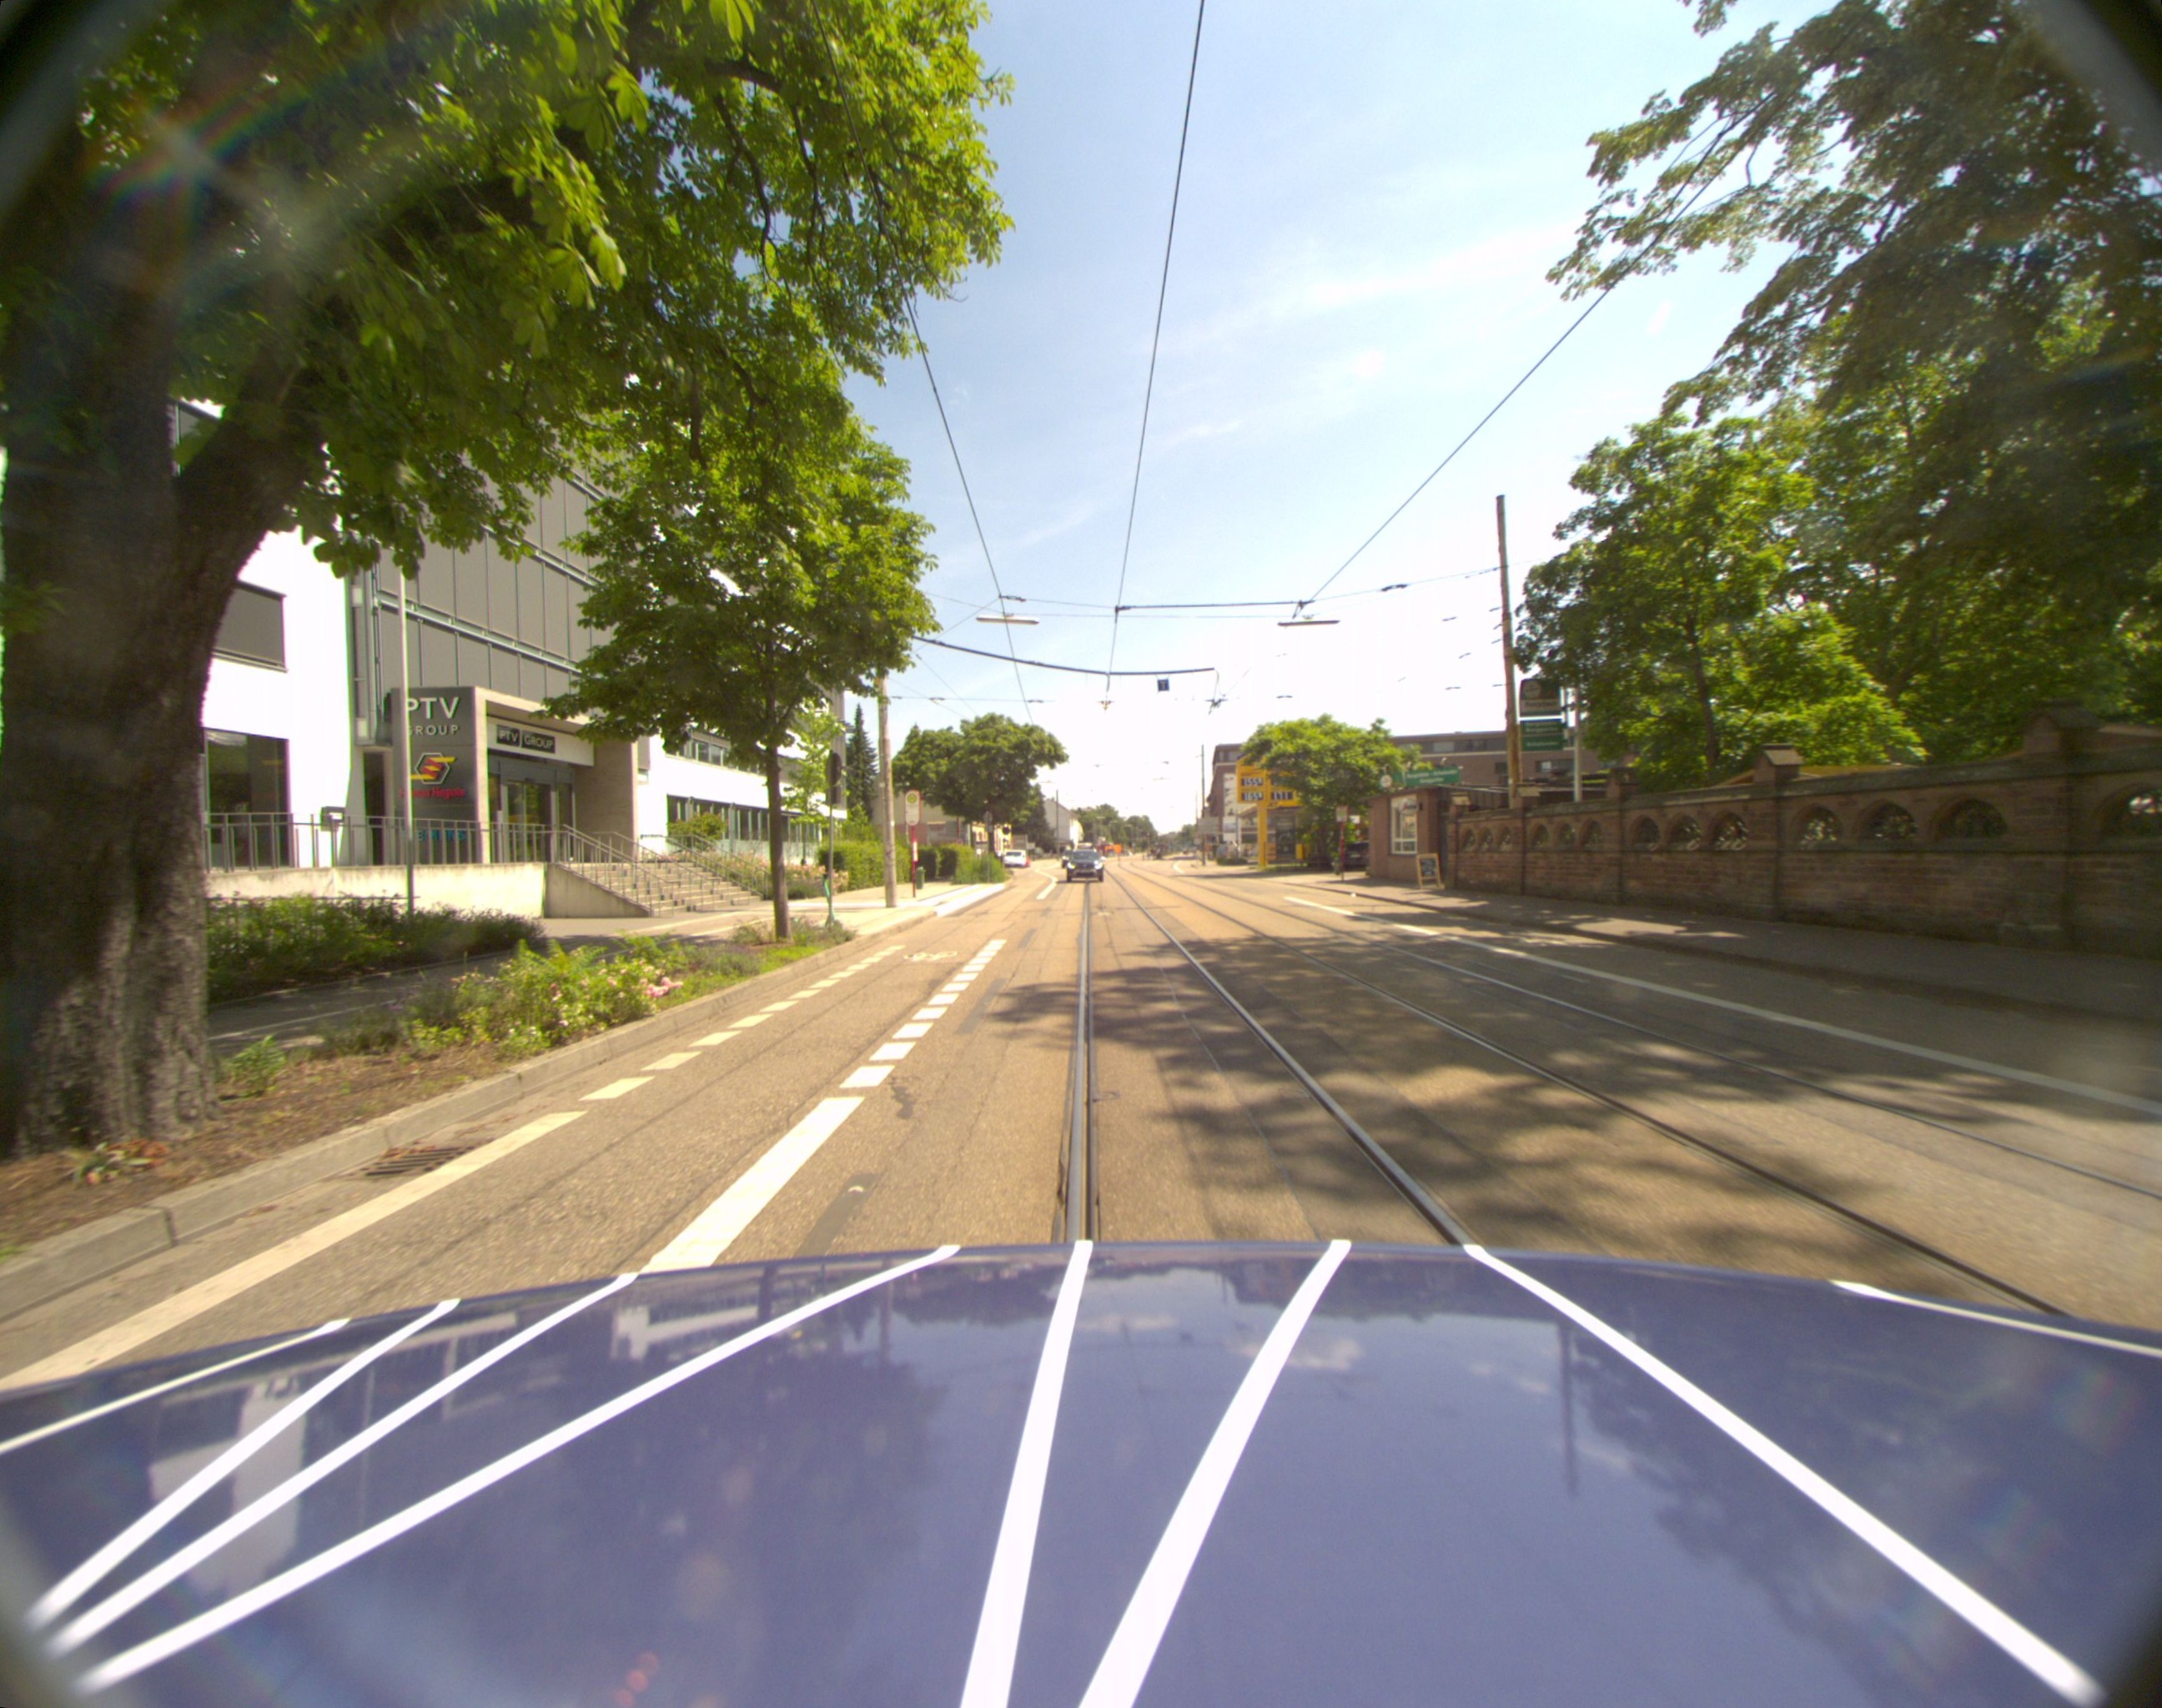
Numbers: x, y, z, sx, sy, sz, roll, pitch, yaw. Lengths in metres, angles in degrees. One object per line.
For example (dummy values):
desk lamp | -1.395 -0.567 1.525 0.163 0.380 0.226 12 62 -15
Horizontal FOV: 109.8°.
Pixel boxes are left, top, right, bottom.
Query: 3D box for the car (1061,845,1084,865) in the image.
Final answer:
car | -0.810 0.086 72.011 1.998 1.732 4.226 -2 1 1

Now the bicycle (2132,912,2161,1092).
bicycle | 7.349 0.980 4.113 0.661 1.156 1.895 1 1 1

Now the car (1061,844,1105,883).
car | 0.124 0.429 37.994 1.998 1.732 4.226 -2 1 1

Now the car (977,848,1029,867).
car | -8.089 0.388 78.920 5.214 1.732 1.999 -2 1 -3
